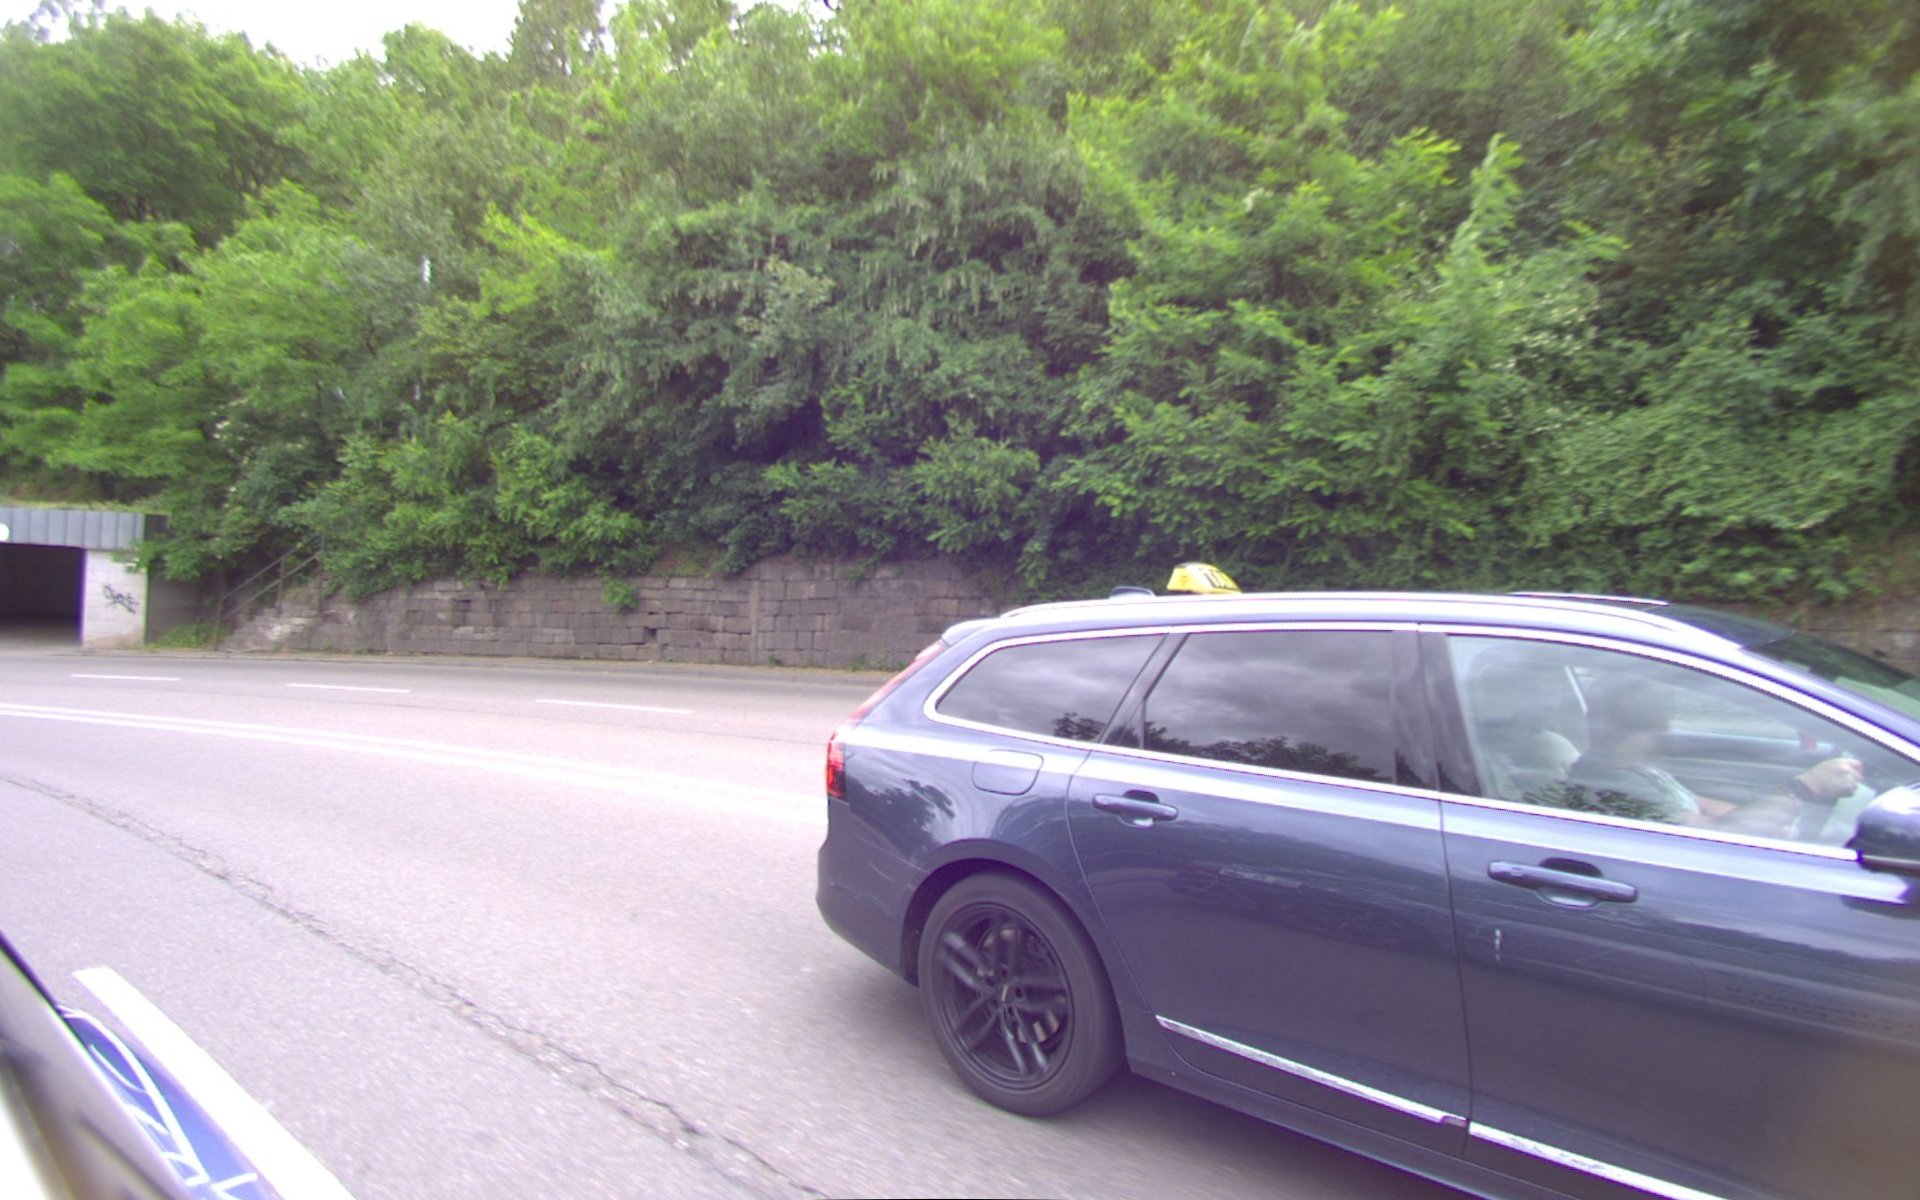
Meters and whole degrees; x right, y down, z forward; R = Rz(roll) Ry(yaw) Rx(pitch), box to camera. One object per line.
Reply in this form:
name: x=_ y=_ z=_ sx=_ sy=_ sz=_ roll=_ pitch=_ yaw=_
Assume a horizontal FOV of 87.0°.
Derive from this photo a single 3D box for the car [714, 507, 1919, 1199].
car: x=1.771 y=0.605 z=2.491 sx=5.020 sy=1.588 sz=1.917 roll=2 pitch=4 yaw=38
